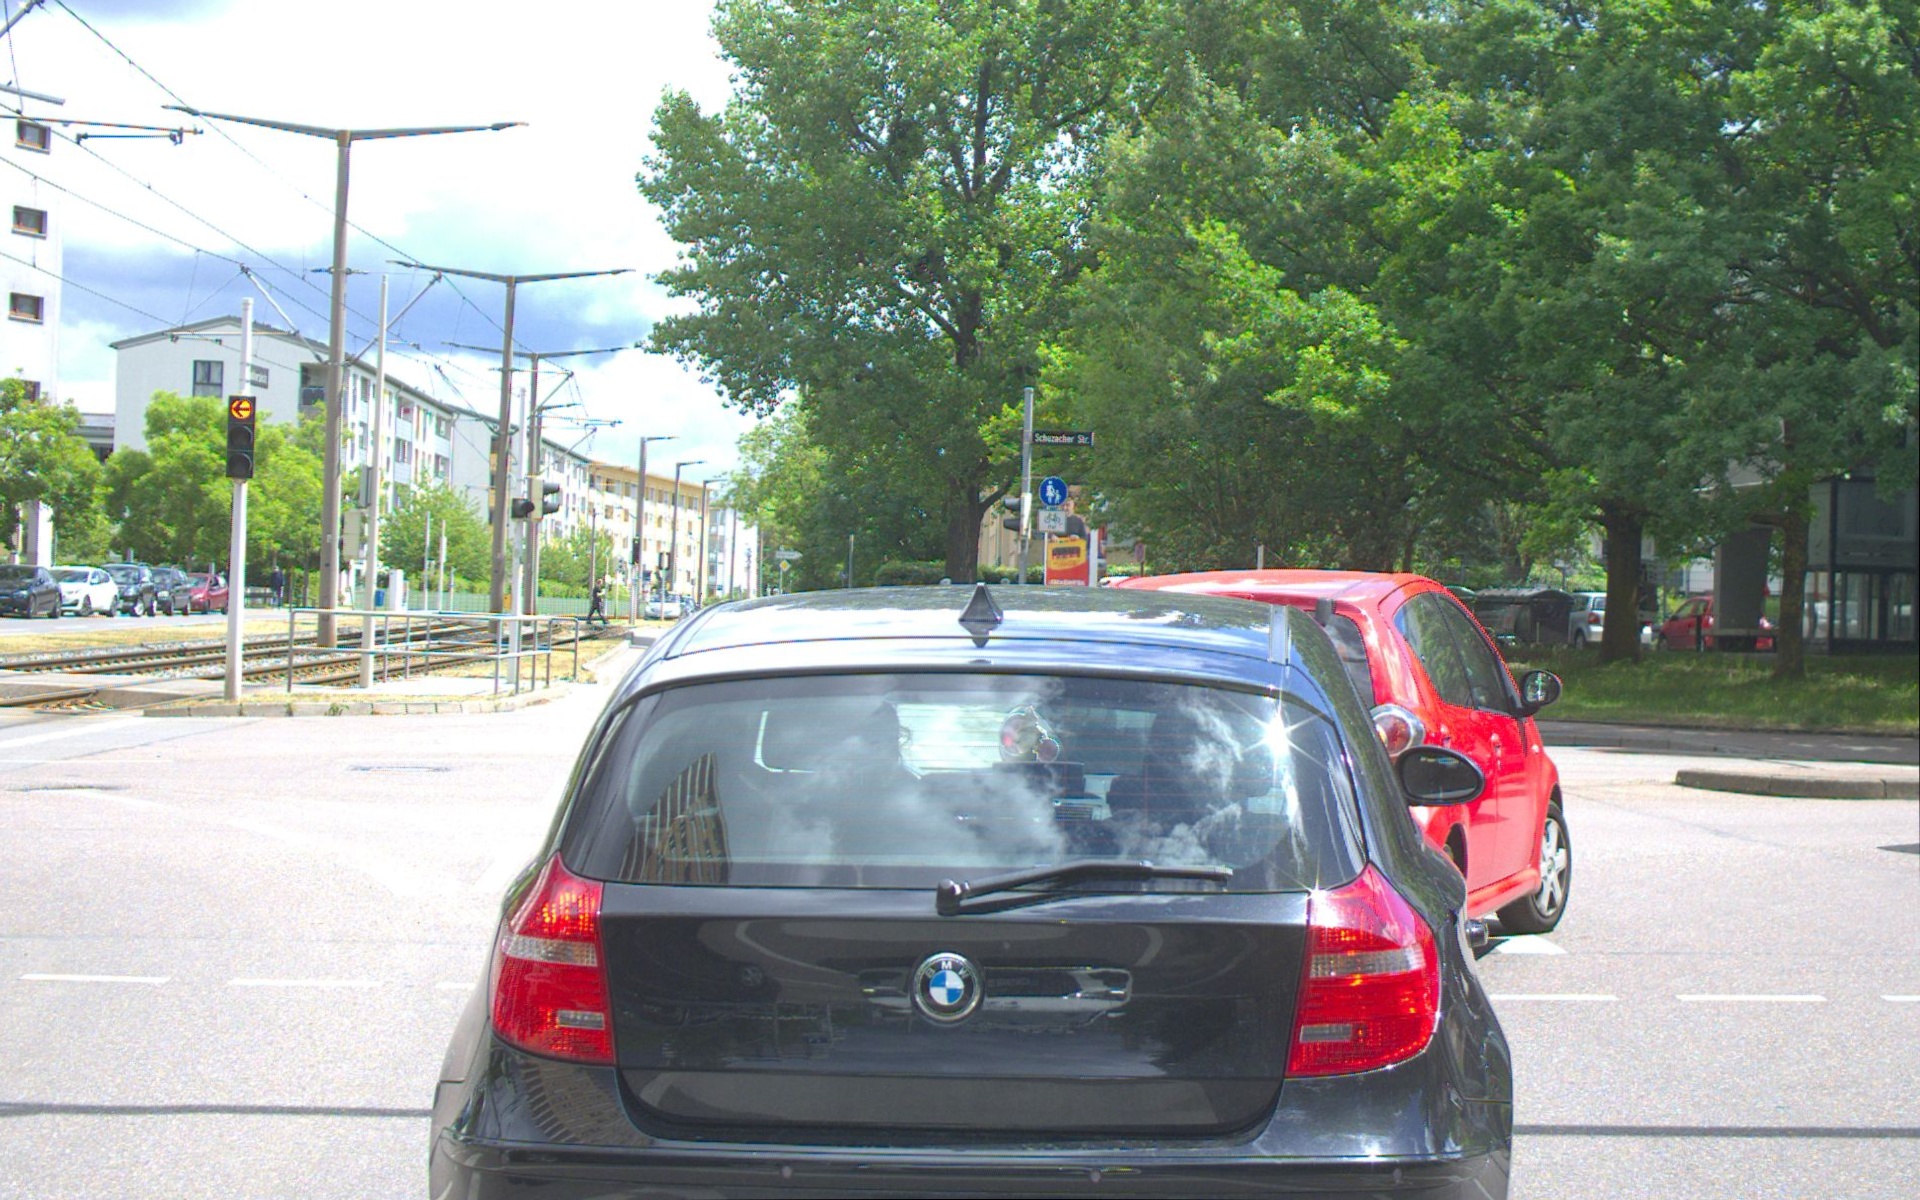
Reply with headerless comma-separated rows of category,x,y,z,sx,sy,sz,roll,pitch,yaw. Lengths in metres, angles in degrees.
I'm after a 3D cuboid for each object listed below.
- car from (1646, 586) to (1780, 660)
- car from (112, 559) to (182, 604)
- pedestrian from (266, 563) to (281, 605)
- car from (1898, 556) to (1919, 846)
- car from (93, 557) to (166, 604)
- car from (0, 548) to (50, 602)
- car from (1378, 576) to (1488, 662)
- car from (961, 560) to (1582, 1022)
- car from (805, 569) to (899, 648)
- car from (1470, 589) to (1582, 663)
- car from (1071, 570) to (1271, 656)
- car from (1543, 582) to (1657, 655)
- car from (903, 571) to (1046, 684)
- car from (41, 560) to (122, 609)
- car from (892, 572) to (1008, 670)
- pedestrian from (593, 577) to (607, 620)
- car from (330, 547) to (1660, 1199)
car,17.342,0.511,79.375,1.730,1.589,4.001,1,1,-8
car,-26.517,-0.616,112.168,1.760,1.390,4.001,1,1,-7
pedestrian,-27.090,-0.633,135.691,0.452,1.631,0.480,1,1,-3
car,7.473,0.565,18.839,4.507,1.548,2.000,0,0,-33
car,-25.977,-0.623,107.601,1.760,1.390,4.001,1,1,-7
car,-25.940,-0.695,93.427,1.760,1.390,4.001,1,1,-7
car,10.537,0.404,76.824,1.630,1.804,4.033,1,1,-3
car,1.263,0.589,12.697,1.543,1.436,3.193,2,1,19
car,-2.394,0.172,77.120,1.993,1.678,4.000,1,1,0
car,12.747,0.561,77.647,1.630,1.567,4.033,1,1,-3
car,4.639,0.290,75.729,3.986,1.817,1.779,1,1,-22
car,14.653,0.404,78.929,1.630,1.589,4.001,1,1,-3
car,0.207,0.424,54.223,2.152,1.678,4.000,1,0,0
car,-25.790,-0.469,101.026,1.760,1.390,4.001,1,1,-7
car,-0.189,0.377,61.672,1.993,1.678,4.000,1,0,0
pedestrian,-13.784,-0.076,131.618,0.478,1.631,0.454,1,1,-1
car,0.024,0.663,6.579,1.752,1.482,4.000,1,1,0
